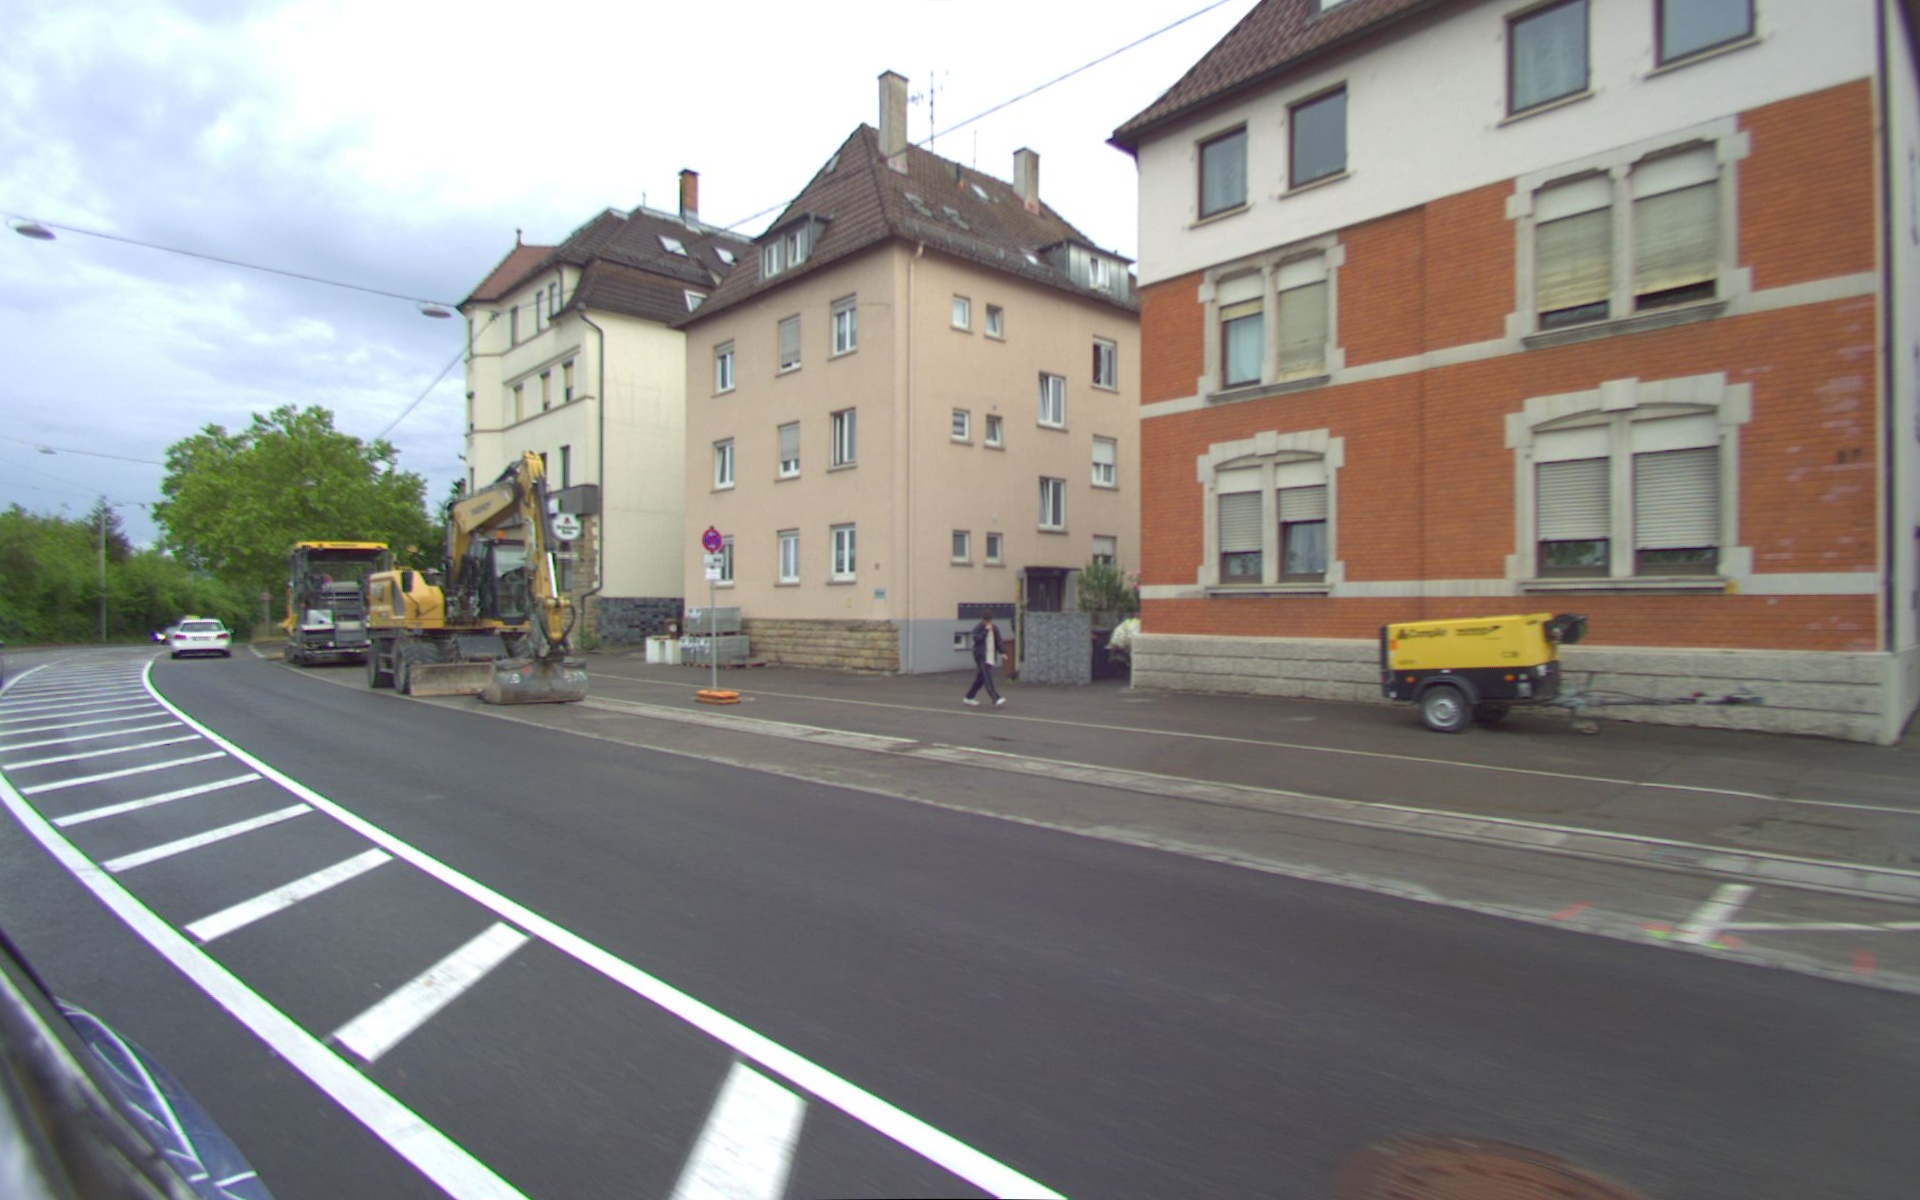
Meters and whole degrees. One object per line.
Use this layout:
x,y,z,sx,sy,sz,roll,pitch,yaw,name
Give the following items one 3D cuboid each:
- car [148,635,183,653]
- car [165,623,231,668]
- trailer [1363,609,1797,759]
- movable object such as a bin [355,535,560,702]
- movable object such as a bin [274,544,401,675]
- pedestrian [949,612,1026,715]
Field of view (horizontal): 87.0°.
-62.669,3.462,79.884,1.579,1.312,3.724,-1,-1,-29,car
-29.722,1.739,39.468,1.933,1.656,4.453,1,-2,-37,car
6.842,0.842,11.537,1.308,1.409,4.001,0,-1,-42,trailer
-10.829,0.418,21.661,2.790,3.136,4.639,1,-2,-42,movable object such as a bin
-21.108,0.379,34.082,2.909,3.873,8.145,0,-1,-37,movable object such as a bin
0.427,0.977,15.836,0.595,1.540,1.039,-1,-1,-44,pedestrian
